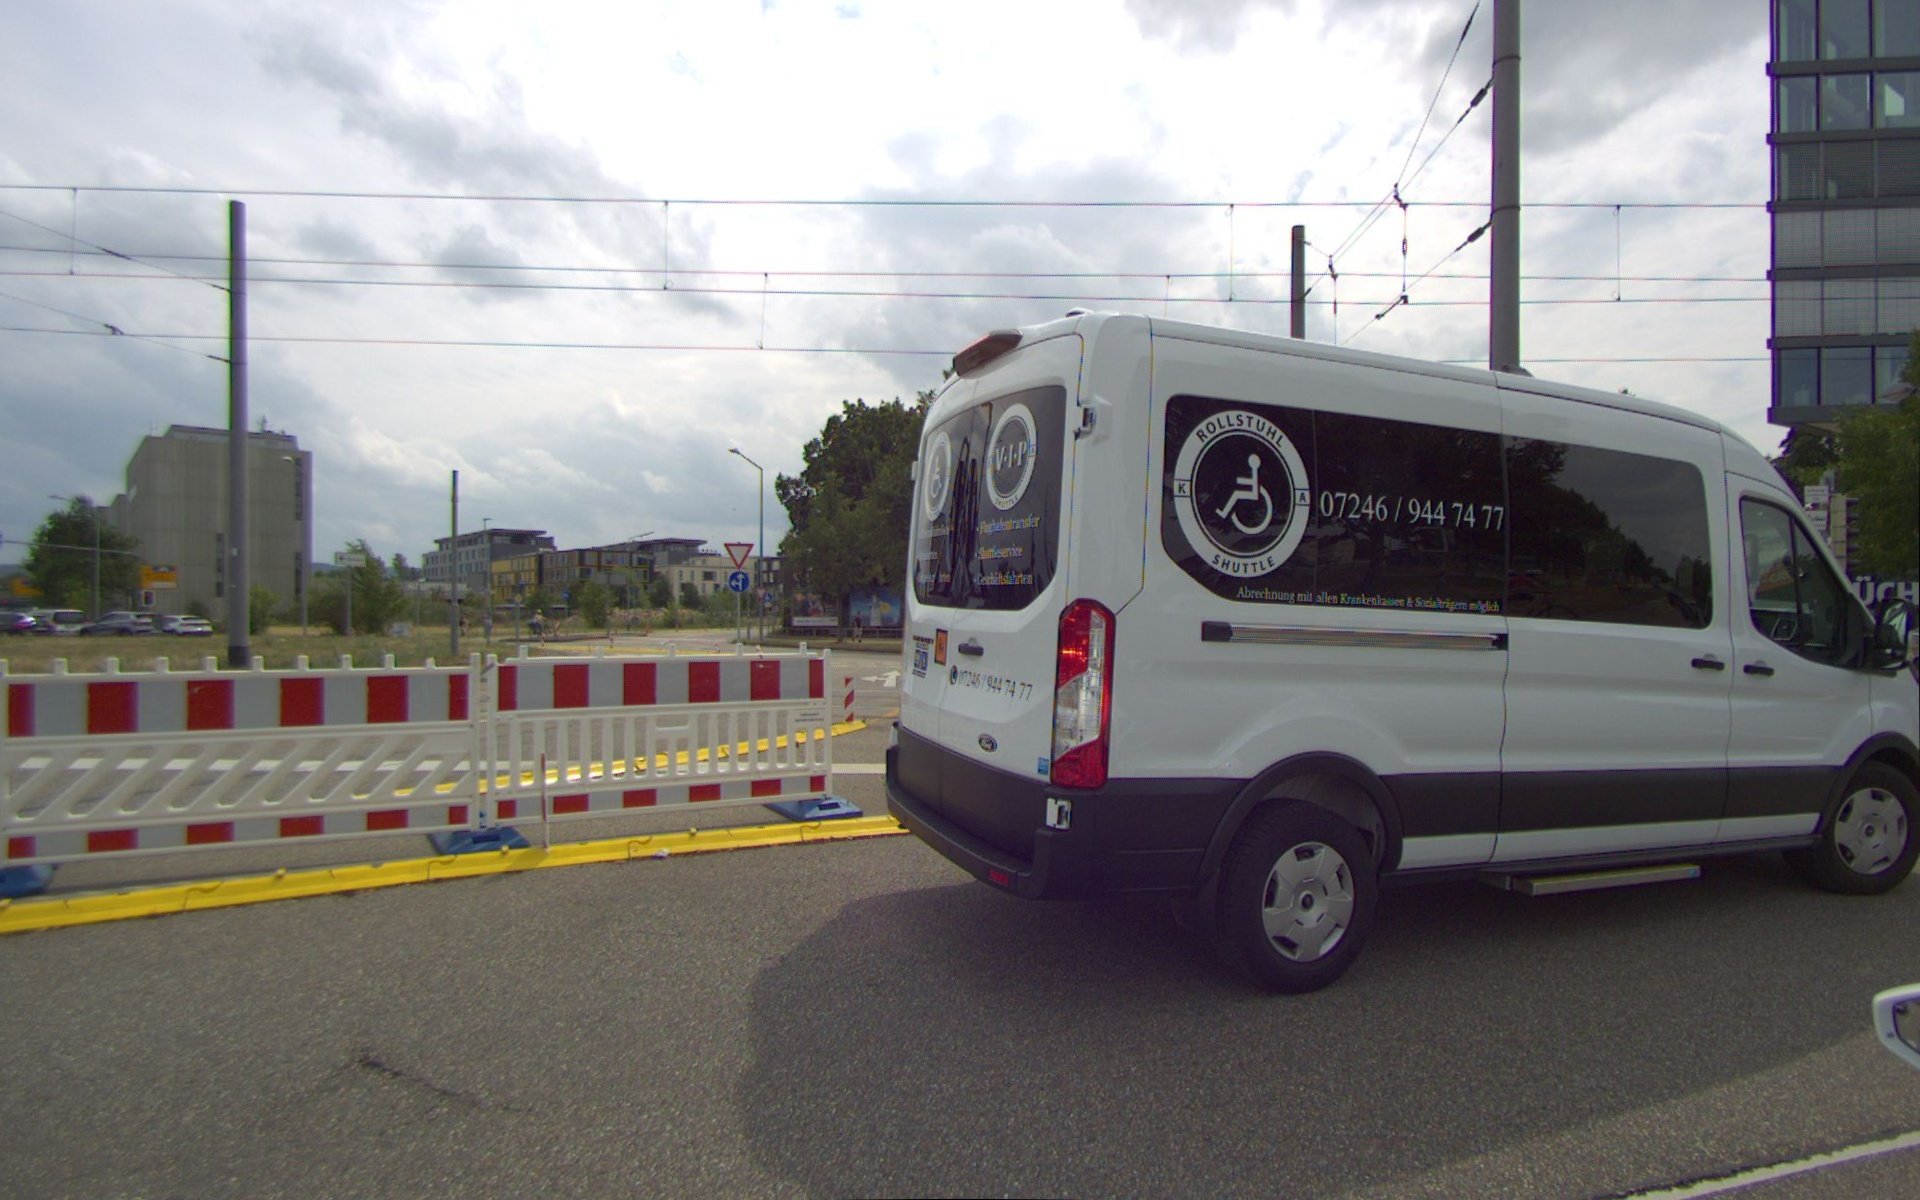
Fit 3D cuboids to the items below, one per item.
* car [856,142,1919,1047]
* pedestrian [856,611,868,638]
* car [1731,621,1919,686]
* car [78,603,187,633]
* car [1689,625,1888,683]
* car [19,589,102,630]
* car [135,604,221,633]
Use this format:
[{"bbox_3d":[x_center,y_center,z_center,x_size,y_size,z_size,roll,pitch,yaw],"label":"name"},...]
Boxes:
[{"bbox_3d":[2.442,0.023,5.153,5.553,2.733,2.121,1,-1,-24],"label":"car"},{"bbox_3d":[-5.761,1.430,58.799,0.440,1.615,0.672,0,0,20],"label":"pedestrian"},{"bbox_3d":[22.148,1.307,24.787,4.642,1.477,1.850,0,0,7],"label":"car"},{"bbox_3d":[-41.673,0.906,50.641,3.921,1.483,1.834,0,-1,0],"label":"car"},{"bbox_3d":[23.141,1.482,28.195,3.919,1.477,1.850,0,0,7],"label":"car"},{"bbox_3d":[-48.053,0.511,53.647,4.284,2.039,1.997,0,-4,30],"label":"car"},{"bbox_3d":[-43.292,1.033,55.633,3.920,1.483,1.834,0,-2,17],"label":"car"}]
